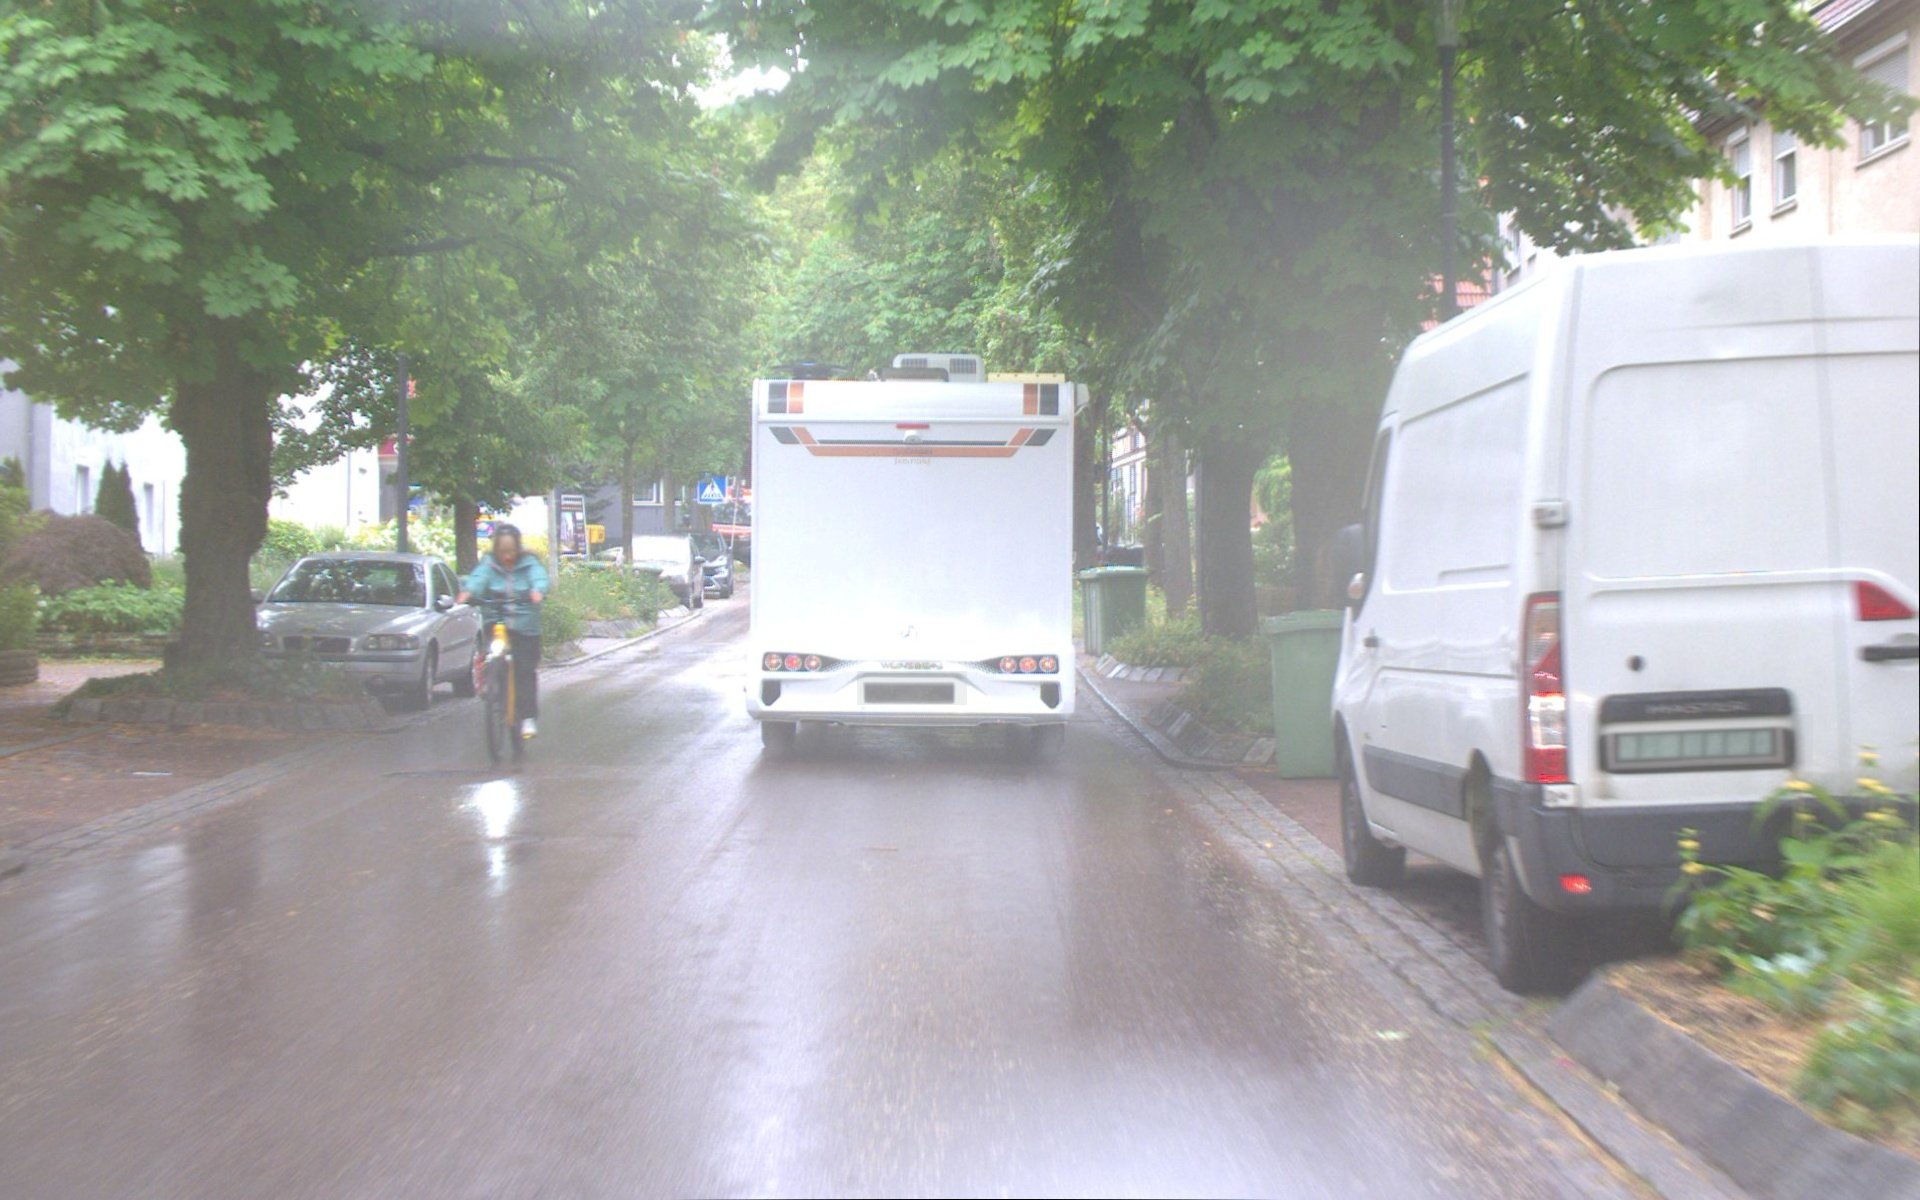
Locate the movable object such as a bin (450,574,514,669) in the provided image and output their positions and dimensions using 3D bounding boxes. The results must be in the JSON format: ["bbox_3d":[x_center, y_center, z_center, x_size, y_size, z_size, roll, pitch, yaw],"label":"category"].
[{"bbox_3d":[-5.567,0.247,40.054,0.595,1.059,0.545,3,1,3],"label":"movable object such as a bin"}]

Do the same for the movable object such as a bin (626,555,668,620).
[{"bbox_3d":[-5.344,-0.215,58.689,0.643,1.107,0.536,0,2,1],"label":"movable object such as a bin"}]

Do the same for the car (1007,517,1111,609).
[{"bbox_3d":[1.987,-0.778,70.154,1.914,1.786,4.489,1,2,-1],"label":"car"}]

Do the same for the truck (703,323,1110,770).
[{"bbox_3d":[-0.383,-0.403,26.158,2.694,2.975,6.237,1,1,0],"label":"truck"}]

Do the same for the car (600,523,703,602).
[{"bbox_3d":[-6.300,-0.798,70.618,1.647,1.528,3.866,1,1,1],"label":"car"}]

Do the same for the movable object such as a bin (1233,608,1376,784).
[{"bbox_3d":[2.171,0.599,21.774,0.797,1.071,0.879,1,1,-1],"label":"movable object such as a bin"}]

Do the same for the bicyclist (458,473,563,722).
[{"bbox_3d":[-3.187,-0.024,24.410,0.627,1.725,0.880,1,1,-1],"label":"bicyclist"}]

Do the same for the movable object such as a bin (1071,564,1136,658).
[{"bbox_3d":[1.674,0.125,40.183,0.688,1.079,0.541,0,1,-4],"label":"movable object such as a bin"}]

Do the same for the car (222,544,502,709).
[{"bbox_3d":[-5.582,0.200,32.629,1.772,1.384,4.545,2,1,1],"label":"car"}]

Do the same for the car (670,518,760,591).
[{"bbox_3d":[-5.643,-1.069,79.459,1.771,1.548,4.000,2,2,-1],"label":"car"}]

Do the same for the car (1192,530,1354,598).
[{"bbox_3d":[6.934,-0.811,76.344,3.364,1.425,1.631,-1,1,-3],"label":"car"}]

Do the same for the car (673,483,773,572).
[{"bbox_3d":[-6.875,-2.146,100.289,2.303,2.474,5.785,1,2,2],"label":"car"}]

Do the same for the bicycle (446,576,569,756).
[{"bbox_3d":[-3.184,0.443,24.331,0.627,1.205,1.981,1,1,-1],"label":"bicycle"}]

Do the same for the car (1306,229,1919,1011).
[{"bbox_3d":[2.746,0.028,13.553,2.141,2.451,5.435,1,1,-1],"label":"car"}]

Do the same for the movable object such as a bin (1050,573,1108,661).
[{"bbox_3d":[1.467,0.205,42.491,0.643,1.079,0.541,0,1,-4],"label":"movable object such as a bin"}]

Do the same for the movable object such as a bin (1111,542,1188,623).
[{"bbox_3d":[3.126,-0.292,56.806,1.225,1.311,1.134,0,1,2],"label":"movable object such as a bin"}]

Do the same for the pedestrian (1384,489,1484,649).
[{"bbox_3d":[4.969,-0.326,36.015,0.955,1.646,0.793,-1,0,13],"label":"pedestrian"}]
